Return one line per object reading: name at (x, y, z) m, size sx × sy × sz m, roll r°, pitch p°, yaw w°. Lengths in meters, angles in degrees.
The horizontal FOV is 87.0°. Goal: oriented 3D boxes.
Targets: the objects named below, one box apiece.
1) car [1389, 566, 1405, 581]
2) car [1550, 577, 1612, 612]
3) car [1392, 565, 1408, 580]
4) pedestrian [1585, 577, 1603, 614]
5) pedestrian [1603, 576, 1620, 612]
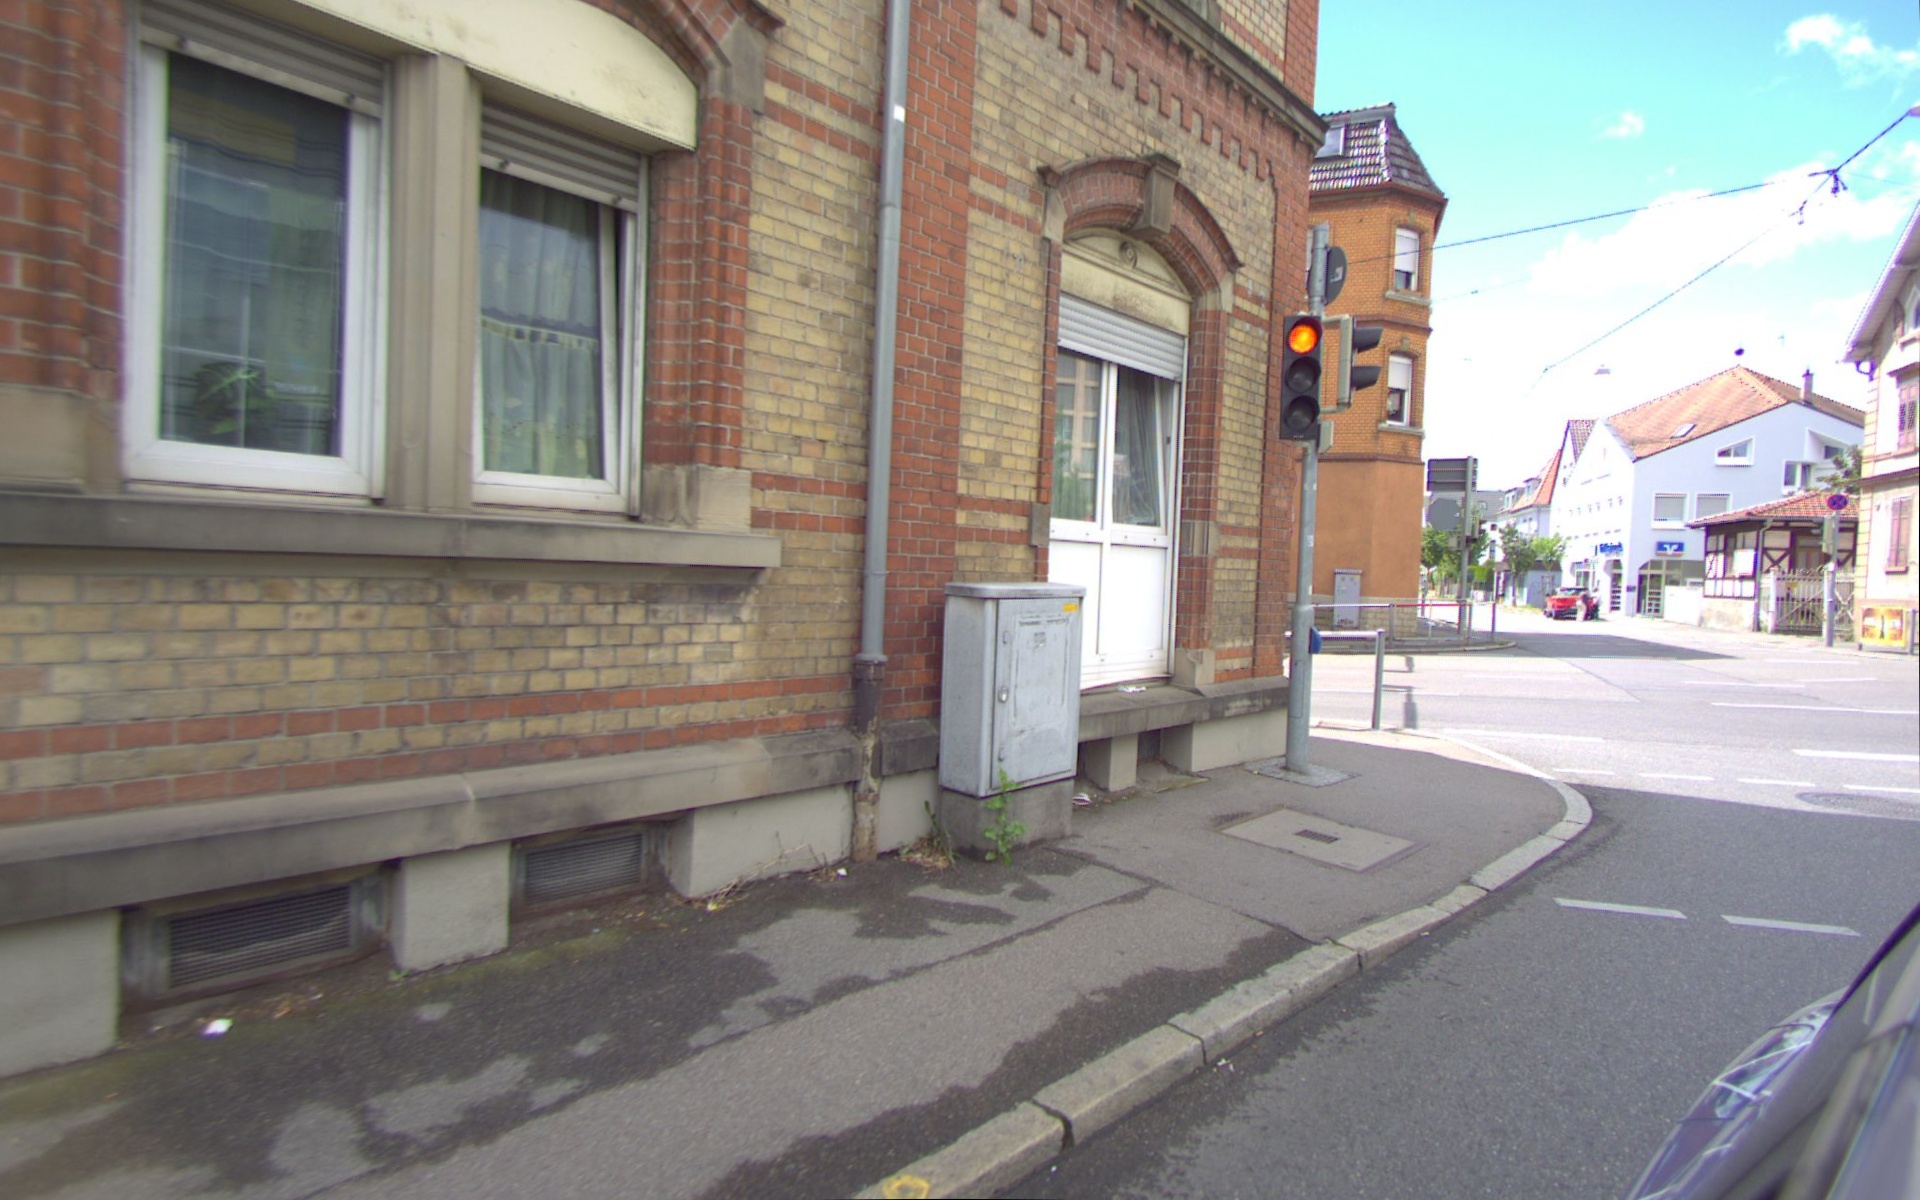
car at (65.068, -3.905, 150.688) m, size 1.979 × 2.039 × 3.966 m, roll -1°, pitch 0°, yaw 25°
car at (29.408, -0.260, 48.047) m, size 1.979 × 1.560 × 3.966 m, roll -1°, pitch 0°, yaw 25°
car at (62.939, -3.847, 144.644) m, size 1.979 × 2.039 × 3.966 m, roll -1°, pitch 0°, yaw 25°
pedestrian at (28.632, -0.207, 45.681) m, size 0.565 × 1.616 × 0.753 m, roll -1°, pitch 0°, yaw 39°
pedestrian at (29.168, -0.259, 45.307) m, size 0.608 × 1.616 × 0.715 m, roll -1°, pitch 0°, yaw 34°
